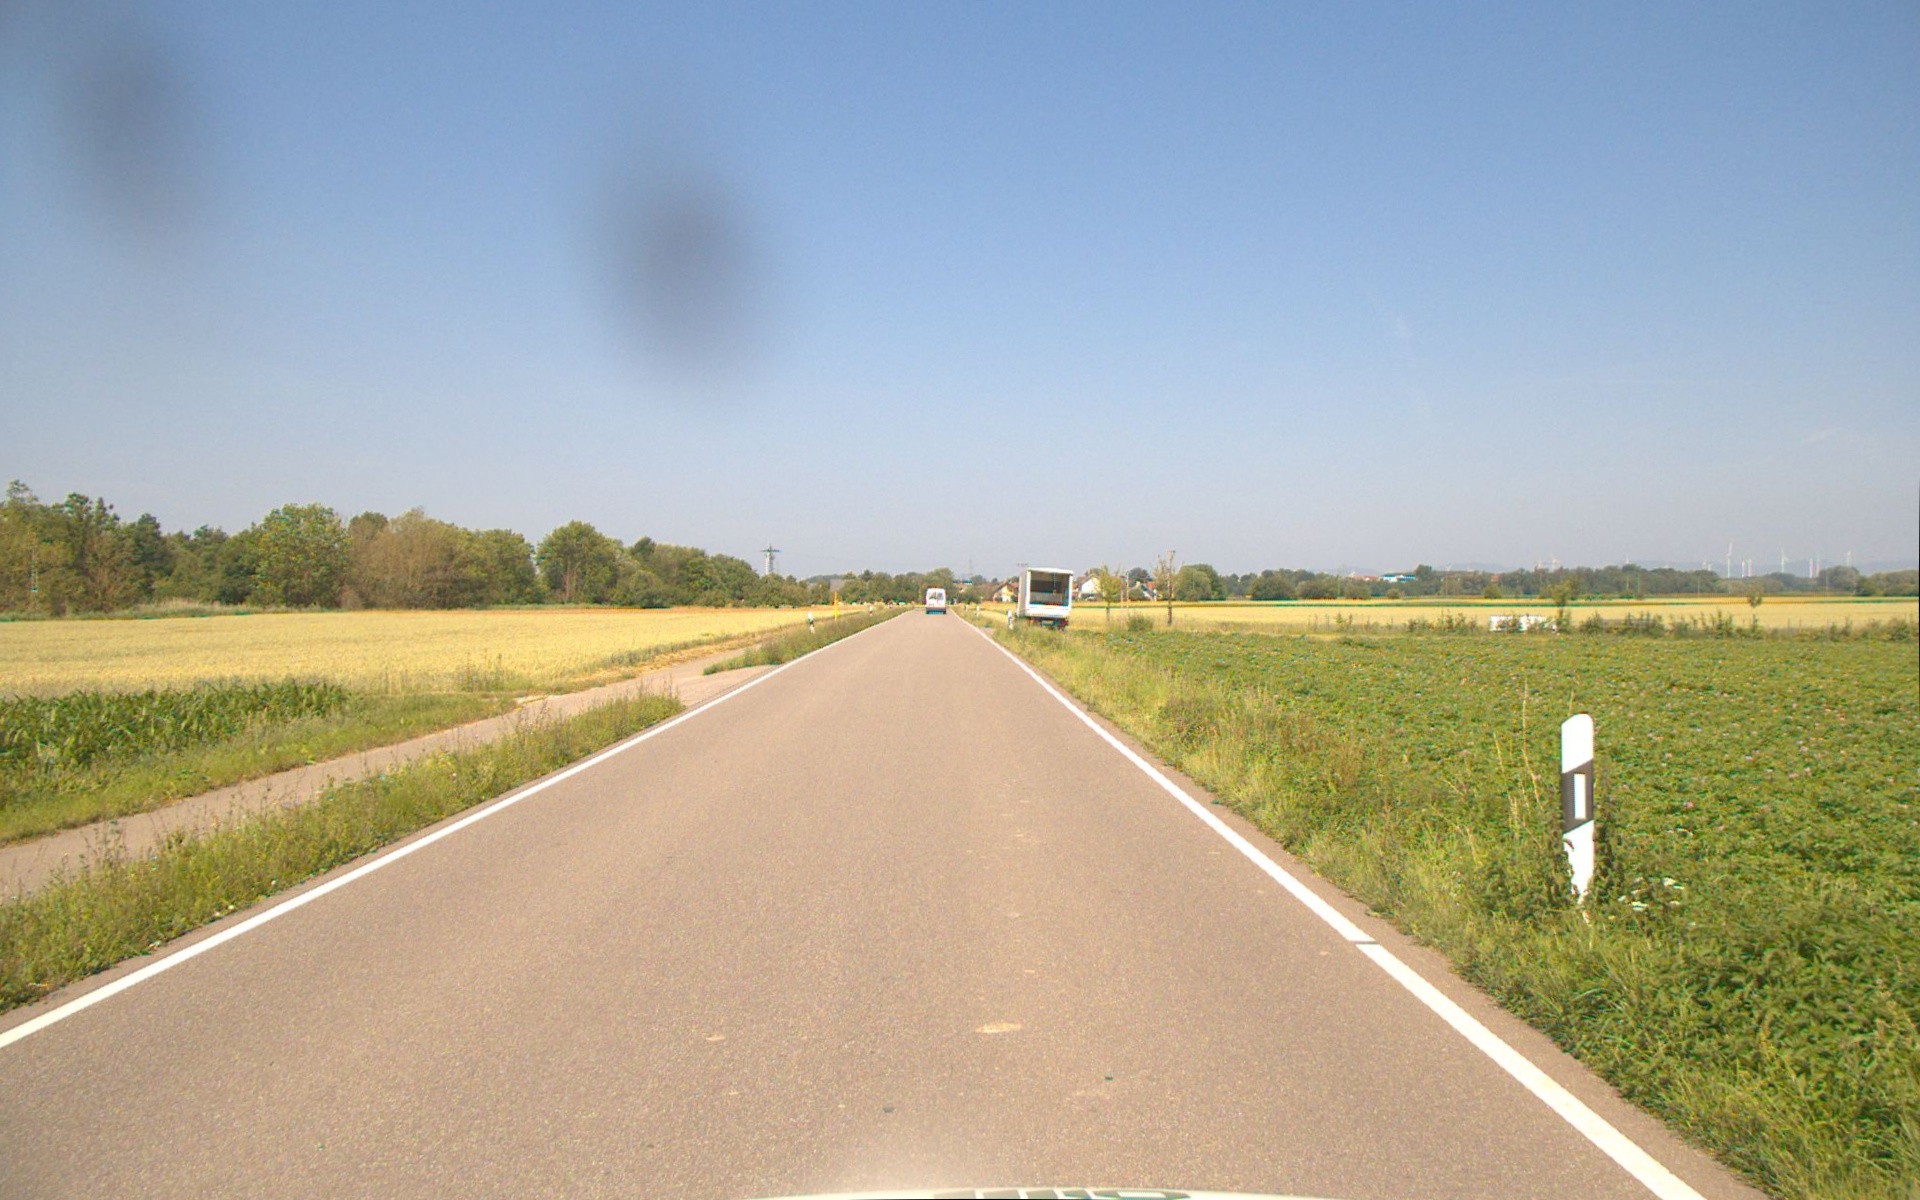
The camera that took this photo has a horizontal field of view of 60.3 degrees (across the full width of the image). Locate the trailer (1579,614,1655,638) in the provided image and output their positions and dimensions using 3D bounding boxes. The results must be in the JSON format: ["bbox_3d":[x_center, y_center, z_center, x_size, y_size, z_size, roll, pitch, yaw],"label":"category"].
[{"bbox_3d":[34.830,1.365,87.745,3.462,1.210,1.665,1,0,11],"label":"trailer"}]

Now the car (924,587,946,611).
[{"bbox_3d":[-2.506,-0.067,164.870,2.064,2.344,5.494,1,0,-1],"label":"car"}]

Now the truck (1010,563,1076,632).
[{"bbox_3d":[3.837,-0.084,77.919,2.289,2.994,7.004,3,0,-3],"label":"truck"}]

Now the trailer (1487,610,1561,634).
[{"bbox_3d":[30.334,1.184,89.030,3.508,1.210,1.665,1,0,11],"label":"trailer"}]
